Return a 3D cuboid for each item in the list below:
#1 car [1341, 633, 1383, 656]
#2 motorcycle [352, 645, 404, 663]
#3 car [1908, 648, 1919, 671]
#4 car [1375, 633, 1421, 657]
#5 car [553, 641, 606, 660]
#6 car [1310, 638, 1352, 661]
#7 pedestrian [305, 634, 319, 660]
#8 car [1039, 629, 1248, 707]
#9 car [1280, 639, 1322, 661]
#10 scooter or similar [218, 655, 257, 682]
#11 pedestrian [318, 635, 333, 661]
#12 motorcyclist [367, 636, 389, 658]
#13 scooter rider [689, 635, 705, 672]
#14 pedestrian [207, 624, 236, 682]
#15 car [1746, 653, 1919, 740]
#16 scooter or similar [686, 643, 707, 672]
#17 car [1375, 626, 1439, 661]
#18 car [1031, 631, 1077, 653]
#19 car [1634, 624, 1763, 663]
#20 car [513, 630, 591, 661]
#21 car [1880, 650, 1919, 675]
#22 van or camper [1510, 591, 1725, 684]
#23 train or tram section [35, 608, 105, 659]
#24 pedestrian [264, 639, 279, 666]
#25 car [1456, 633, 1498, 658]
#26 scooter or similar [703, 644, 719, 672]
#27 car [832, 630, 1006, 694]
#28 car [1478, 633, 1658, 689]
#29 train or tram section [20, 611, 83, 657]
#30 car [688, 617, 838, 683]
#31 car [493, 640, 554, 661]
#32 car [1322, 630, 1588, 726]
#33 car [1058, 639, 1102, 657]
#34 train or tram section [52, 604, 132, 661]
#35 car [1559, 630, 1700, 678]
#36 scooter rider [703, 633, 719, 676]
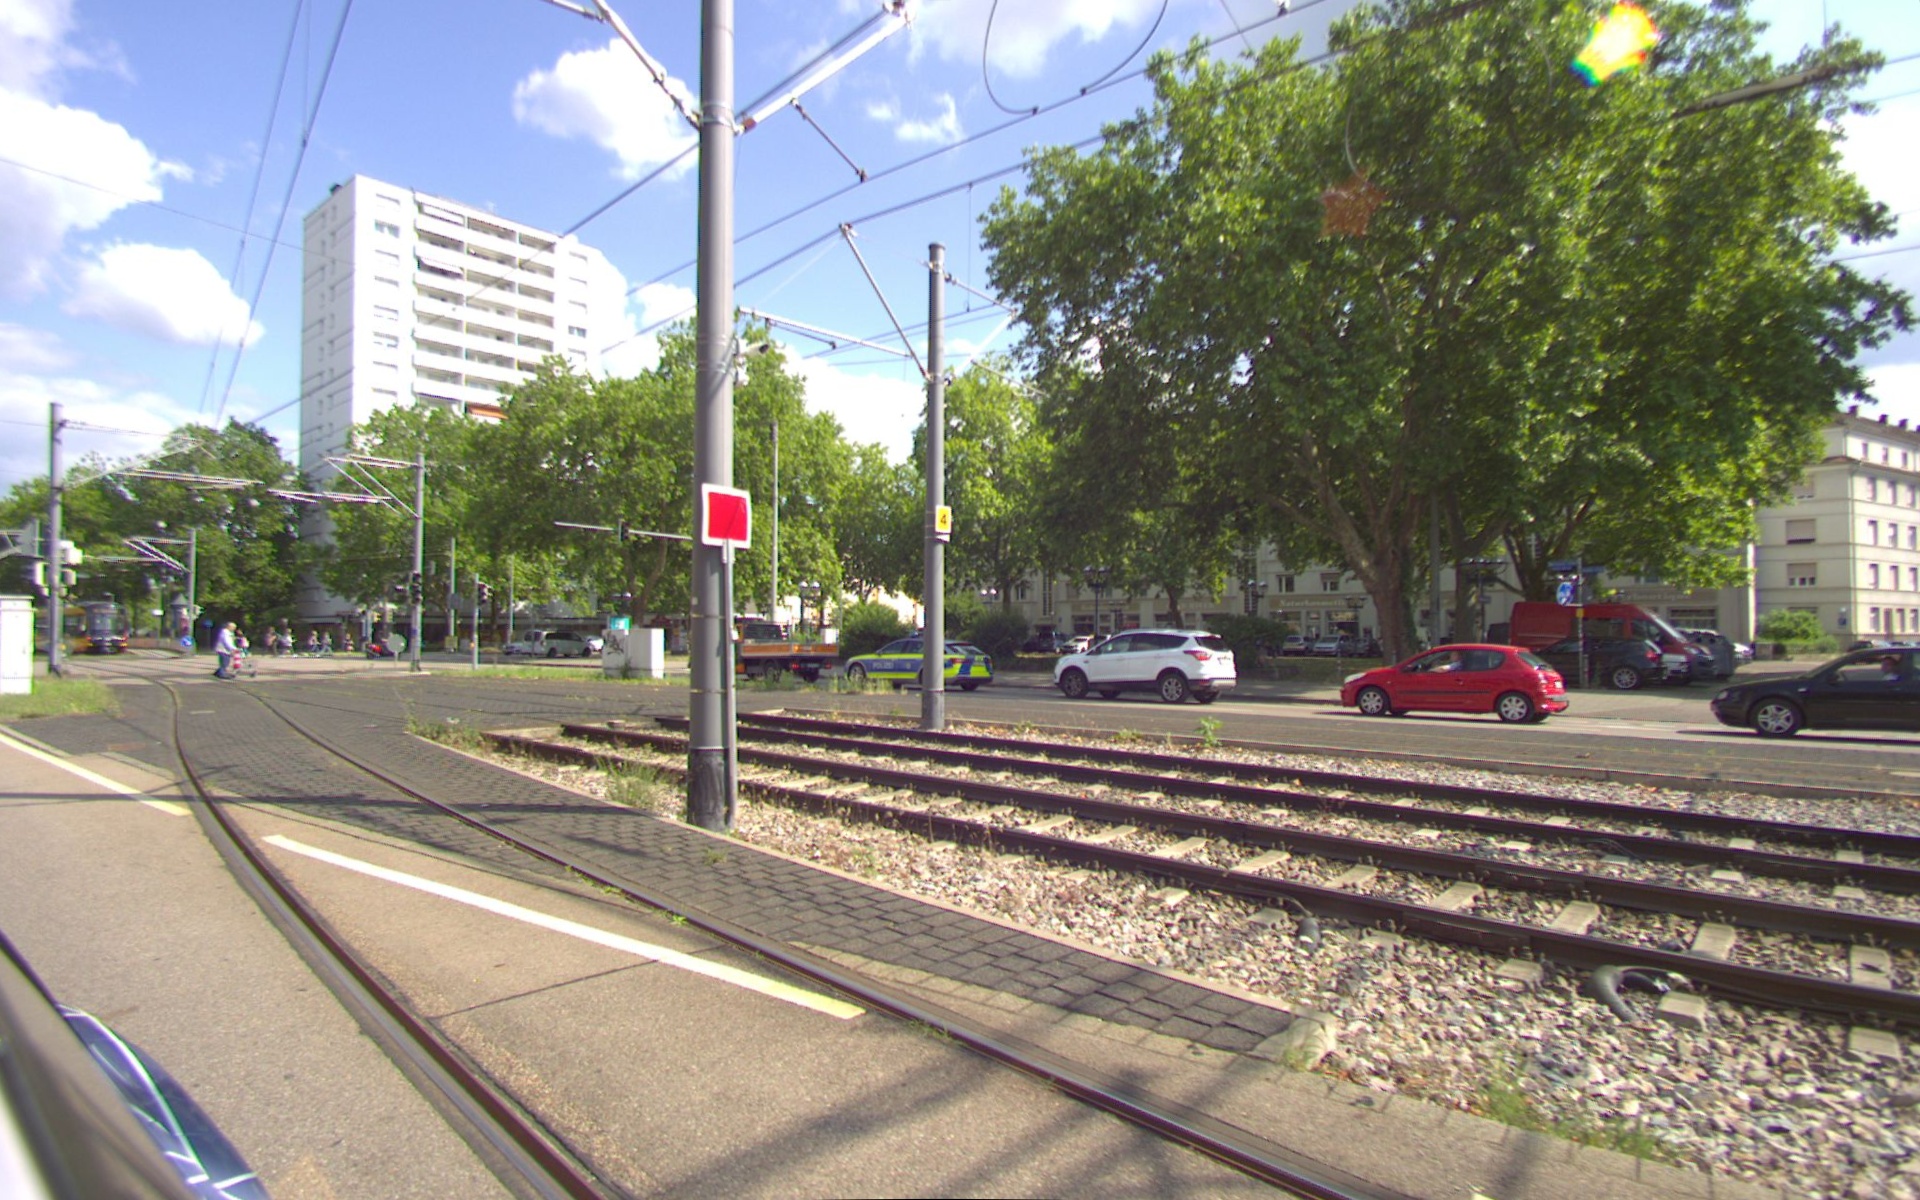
[{"bbox_3d":[30.066,3.327,75.576,1.849,1.672,4.031,-2,-2,38],"label":"car"},{"bbox_3d":[-33.051,3.037,57.488,2.467,0.984,0.699,2,-3,-43],"label":"motorcycle"},{"bbox_3d":[63.119,3.829,65.574,3.719,1.427,1.678,1,-3,-34],"label":"car"},{"bbox_3d":[32.038,3.263,74.013,2.080,1.672,4.031,-2,-2,38],"label":"car"},{"bbox_3d":[-30.629,4.035,81.575,1.847,1.501,4.049,-1,-2,19],"label":"car"},{"bbox_3d":[28.285,3.761,77.081,1.849,1.672,4.031,-2,-2,38],"label":"car"},{"bbox_3d":[-44.244,3.194,69.106,0.648,1.716,0.662,-2,-3,44],"label":"pedestrian"},{"bbox_3d":[4.263,1.538,23.990,4.677,1.619,1.741,-1,-2,41],"label":"car"},{"bbox_3d":[26.684,3.861,79.036,1.849,1.672,4.031,-2,-2,38],"label":"car"},{"bbox_3d":[-22.147,2.099,31.014,0.553,0.810,0.830,-2,-3,37],"label":"scooter or similar"},{"bbox_3d":[-42.327,3.174,67.502,0.648,1.716,0.662,-2,-3,44],"label":"pedestrian"},{"bbox_3d":[-33.059,2.640,57.492,0.962,1.227,0.699,2,-3,-43],"label":"motorcyclist"},{"bbox_3d":[-11.638,2.374,44.802,0.540,1.605,0.435,-1,-1,19],"label":"scooter rider"},{"bbox_3d":[-22.393,1.596,30.700,0.556,1.746,0.521,-2,-3,36],"label":"pedestrian"},{"bbox_3d":[14.001,1.398,14.944,3.633,1.198,1.599,-2,-3,43],"label":"car"},{"bbox_3d":[-11.651,2.536,44.758,0.540,1.235,0.871,-1,-1,19],"label":"scooter or similar"},{"bbox_3d":[27.918,2.749,63.197,3.872,2.029,2.258,5,-5,-41],"label":"car"},{"bbox_3d":[7.640,3.383,82.069,1.996,1.697,3.951,-2,-3,36],"label":"car"},{"bbox_3d":[37.834,2.253,51.944,5.247,1.886,1.974,-2,-5,39],"label":"car"},{"bbox_3d":[-27.778,3.079,69.126,1.987,1.906,5.133,0,-1,22],"label":"car"},{"bbox_3d":[58.357,3.827,62.331,3.719,1.427,1.678,1,-3,-34],"label":"car"},{"bbox_3d":[20.415,1.221,31.608,5.349,2.662,2.079,-2,-5,43],"label":"van or camper"},{"bbox_3d":[-67.115,2.571,76.189,11.180,3.588,2.775,-2,-3,43],"label":"train or tram section"},{"bbox_3d":[-43.779,3.309,64.326,0.648,1.716,0.662,-2,-3,44],"label":"pedestrian"},{"bbox_3d":[36.194,3.130,70.744,1.849,1.672,4.031,-2,-2,38],"label":"car"},{"bbox_3d":[-10.909,2.542,44.270,0.535,1.180,0.879,-1,-1,-23],"label":"scooter or similar"},{"bbox_3d":[-1.257,1.752,28.995,5.151,1.665,1.847,-2,-5,42],"label":"car"},{"bbox_3d":[16.551,1.627,27.652,3.997,1.421,1.734,-2,-3,40],"label":"car"},{"bbox_3d":[-75.671,2.808,84.206,12.155,3.588,2.775,-2,-3,43],"label":"train or tram section"},{"bbox_3d":[-6.620,1.708,33.635,5.333,2.002,2.053,-4,-4,41],"label":"car"},{"bbox_3d":[-32.507,3.761,75.447,1.850,1.501,3.967,-1,-2,24],"label":"car"},{"bbox_3d":[9.173,1.440,18.967,4.141,1.619,1.694,-4,-4,41],"label":"car"},{"bbox_3d":[9.497,3.785,79.882,1.865,1.364,3.895,-2,-3,36],"label":"car"},{"bbox_3d":[-58.879,2.220,68.537,11.375,3.588,2.765,-2,-3,43],"label":"train or tram section"},{"bbox_3d":[23.715,1.909,35.933,3.997,1.616,1.510,-2,-4,40],"label":"car"},{"bbox_3d":[-10.905,2.379,44.243,0.535,1.824,0.682,-1,-1,-23],"label":"scooter rider"}]
